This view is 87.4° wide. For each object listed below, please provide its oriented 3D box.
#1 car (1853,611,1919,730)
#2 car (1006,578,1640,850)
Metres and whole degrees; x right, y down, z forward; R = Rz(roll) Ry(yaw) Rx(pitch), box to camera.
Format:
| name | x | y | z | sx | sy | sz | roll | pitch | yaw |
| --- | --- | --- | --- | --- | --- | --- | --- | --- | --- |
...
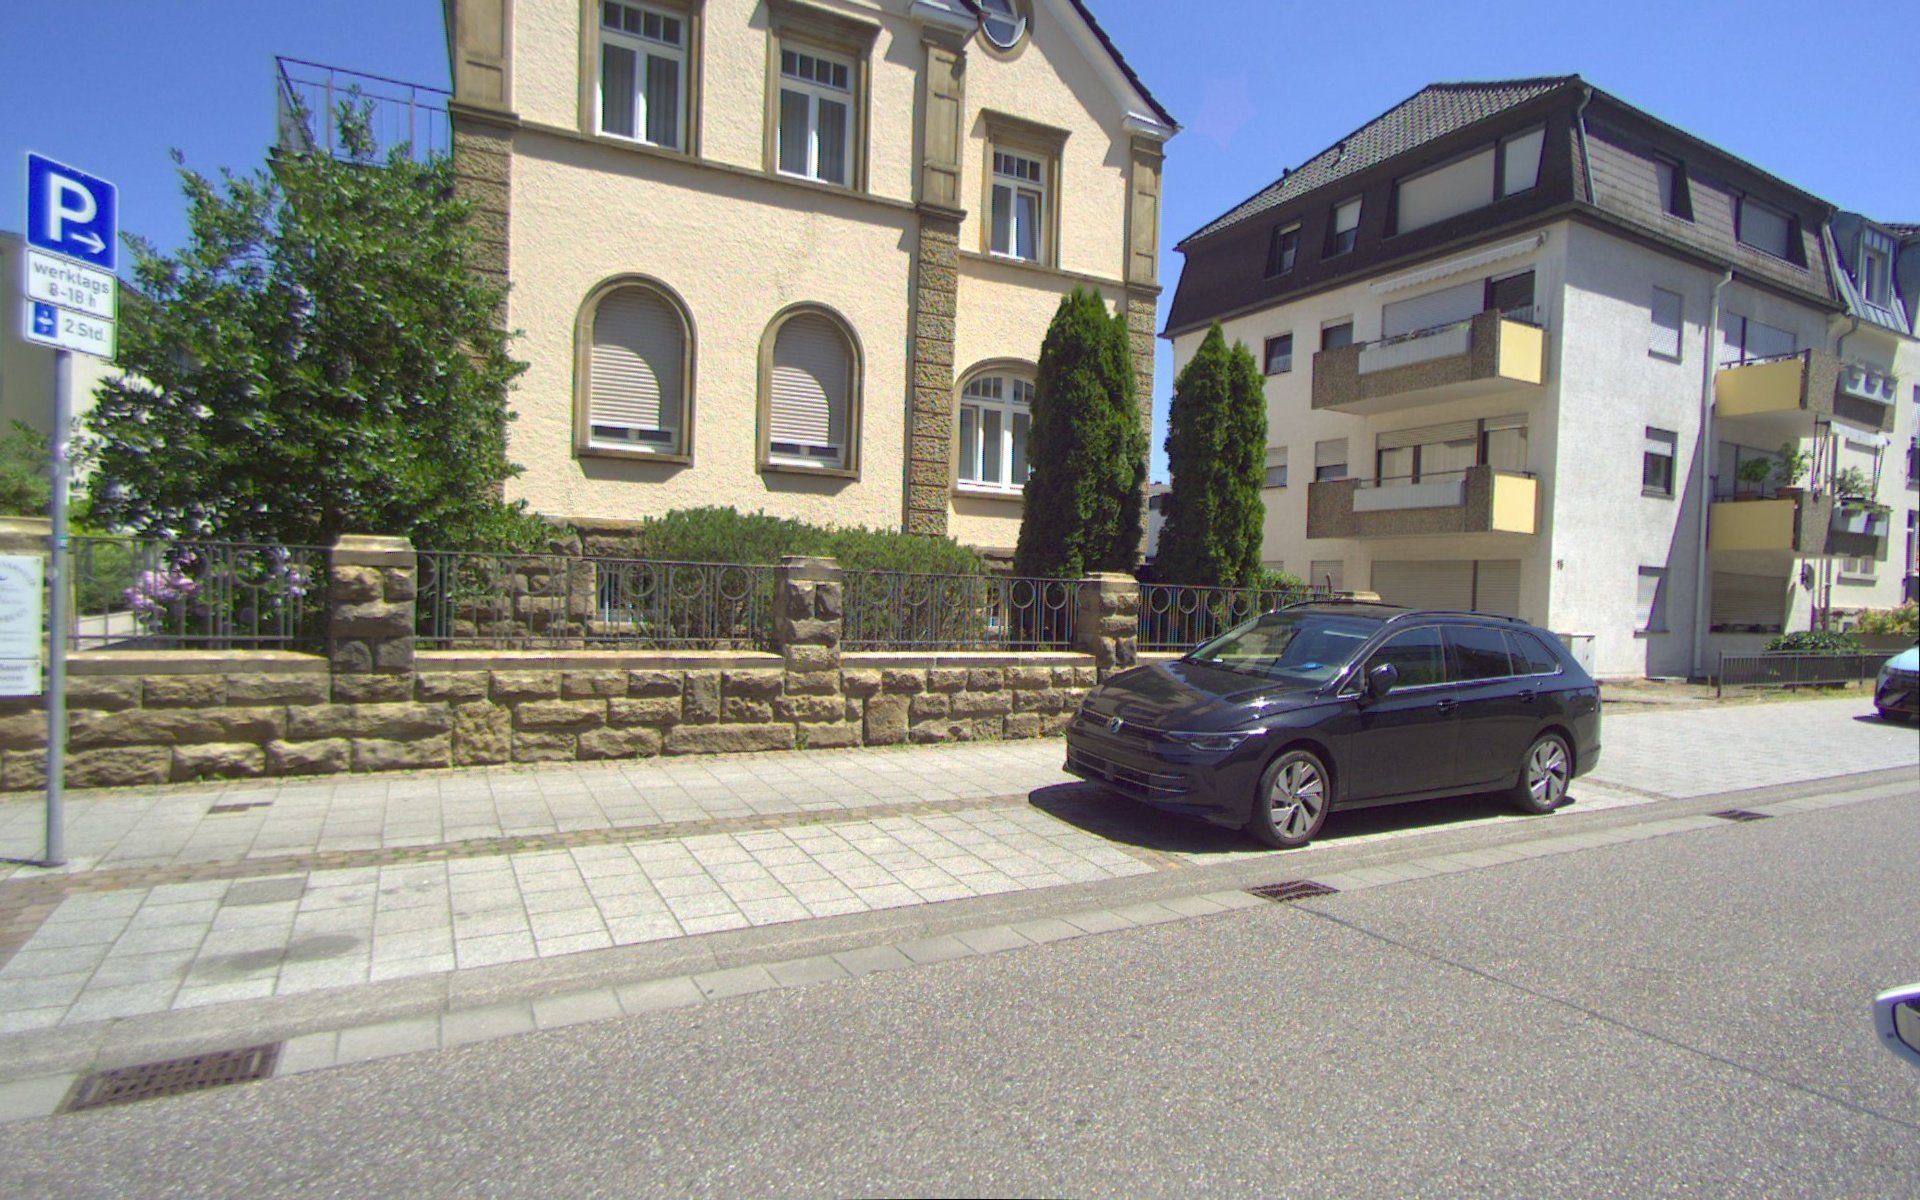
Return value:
| name | x | y | z | sx | sy | sz | roll | pitch | yaw |
| --- | --- | --- | --- | --- | --- | --- | --- | --- | --- |
| car | 15.372 | 1.078 | 14.716 | 4.602 | 1.594 | 1.917 | 2 | 3 | -29 |
| car | 2.836 | 0.699 | 7.638 | 4.602 | 1.456 | 1.917 | 2 | 3 | -29 |
